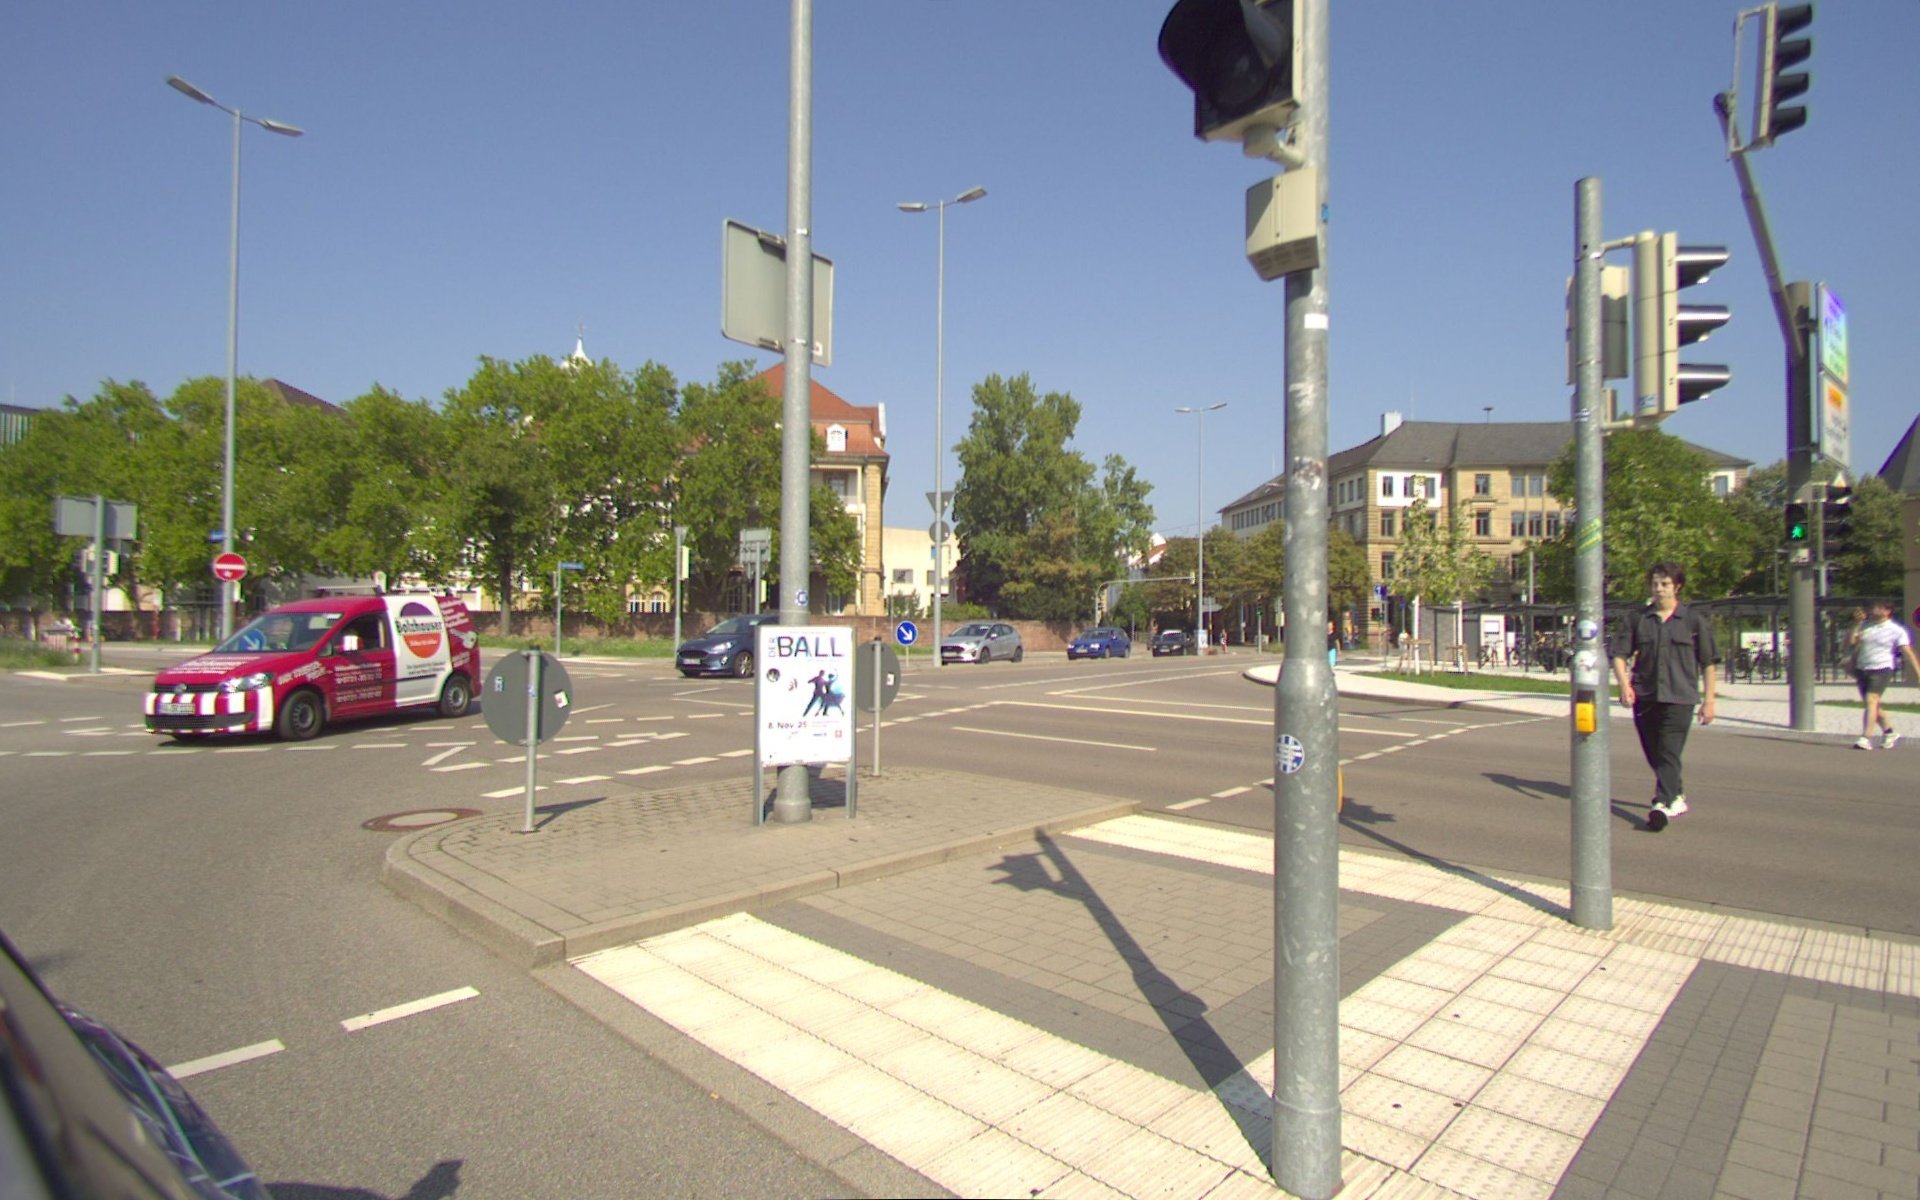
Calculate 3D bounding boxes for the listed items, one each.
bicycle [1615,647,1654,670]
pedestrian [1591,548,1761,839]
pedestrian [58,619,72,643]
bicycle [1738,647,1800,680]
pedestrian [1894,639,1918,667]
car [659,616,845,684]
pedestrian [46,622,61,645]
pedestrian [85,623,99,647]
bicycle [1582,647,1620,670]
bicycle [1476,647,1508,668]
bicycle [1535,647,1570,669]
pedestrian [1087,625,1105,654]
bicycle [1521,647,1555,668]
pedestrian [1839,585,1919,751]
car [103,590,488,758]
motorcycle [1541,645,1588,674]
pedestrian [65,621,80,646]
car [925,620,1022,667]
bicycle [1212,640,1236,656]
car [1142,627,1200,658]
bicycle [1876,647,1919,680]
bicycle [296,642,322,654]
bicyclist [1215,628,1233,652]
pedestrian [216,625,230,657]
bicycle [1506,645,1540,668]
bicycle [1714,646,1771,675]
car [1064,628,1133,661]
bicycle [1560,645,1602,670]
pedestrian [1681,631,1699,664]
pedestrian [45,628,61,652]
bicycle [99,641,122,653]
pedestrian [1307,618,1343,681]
[{"bbox_3d":[27.745,2.401,41.638,0.404,0.899,1.590,0,-2,-5],"label":"bicycle"},{"bbox_3d":[5.012,0.603,7.077,1.066,1.854,0.731,0,-1,-42],"label":"pedestrian"},{"bbox_3d":[-63.143,2.211,71.376,0.588,1.664,0.481,-3,-4,12],"label":"pedestrian"},{"bbox_3d":[25.381,1.981,31.788,0.395,1.017,1.748,0,-2,-5],"label":"bicycle"},{"bbox_3d":[41.266,2.324,44.160,0.461,1.206,0.575,0,-2,-4],"label":"pedestrian"},{"bbox_3d":[-4.771,1.145,23.756,1.638,1.438,4.267,-1,-2,38],"label":"car"},{"bbox_3d":[-63.211,2.318,70.572,0.497,1.583,0.533,-2,-4,9],"label":"pedestrian"},{"bbox_3d":[-60.620,2.427,70.683,0.588,1.664,0.481,-3,-4,12],"label":"pedestrian"},{"bbox_3d":[26.284,2.382,41.503,0.404,0.899,1.590,0,-2,-5],"label":"bicycle"},{"bbox_3d":[22.828,2.457,43.409,0.395,0.899,1.590,0,-2,-5],"label":"bicycle"},{"bbox_3d":[25.330,2.455,43.274,0.404,0.899,1.590,0,-2,-5],"label":"bicycle"},{"bbox_3d":[9.793,2.859,72.963,0.821,2.029,0.895,-5,-5,43],"label":"pedestrian"},{"bbox_3d":[24.760,2.454,43.384,0.395,0.899,1.590,0,-2,-5],"label":"bicycle"},{"bbox_3d":[10.699,0.771,11.669,0.565,1.847,0.691,0,-2,17],"label":"pedestrian"},{"bbox_3d":[-8.361,0.847,13.288,1.720,1.833,4.261,-1,-1,12],"label":"car"},{"bbox_3d":[22.385,2.185,37.497,0.535,1.017,1.748,0,-2,-5],"label":"motorcycle"},{"bbox_3d":[-60.899,2.321,69.460,0.588,1.664,0.518,-3,-4,12],"label":"pedestrian"},{"bbox_3d":[0.505,1.422,33.462,1.713,1.444,3.824,-1,-2,27],"label":"car"},{"bbox_3d":[20.276,3.685,77.762,0.884,1.214,3.044,-4,-4,32],"label":"bicycle"},{"bbox_3d":[11.353,2.247,54.182,1.991,1.564,3.961,-1,-1,29],"label":"car"},{"bbox_3d":[30.471,2.026,32.481,0.395,1.017,1.748,0,-2,-5],"label":"bicycle"},{"bbox_3d":[-43.988,3.241,68.400,1.531,0.842,0.433,0,-2,7],"label":"bicycle"},{"bbox_3d":[20.298,3.073,77.871,0.884,1.759,1.354,-4,-4,32],"label":"bicyclist"},{"bbox_3d":[-49.872,2.794,68.489,0.588,2.121,0.518,-3,-4,12],"label":"pedestrian"},{"bbox_3d":[24.075,2.406,43.294,0.415,0.975,1.590,0,-2,-5],"label":"bicycle"},{"bbox_3d":[28.524,2.205,36.923,0.454,1.017,1.877,0,-2,-5],"label":"bicycle"},{"bbox_3d":[5.992,1.876,43.468,1.600,1.339,4.292,-1,-2,28],"label":"car"},{"bbox_3d":[25.436,2.337,41.493,0.525,0.994,1.715,0,-2,-5],"label":"bicycle"},{"bbox_3d":[39.612,2.590,54.932,0.713,1.762,0.385,-1,-3,27],"label":"pedestrian"},{"bbox_3d":[-62.576,2.776,69.830,0.588,1.664,0.518,-3,-4,12],"label":"pedestrian"},{"bbox_3d":[-60.491,3.342,72.079,1.536,0.842,0.432,0,-2,16],"label":"bicycle"},{"bbox_3d":[9.393,1.268,26.075,0.746,1.577,0.664,1,-2,11],"label":"pedestrian"}]
